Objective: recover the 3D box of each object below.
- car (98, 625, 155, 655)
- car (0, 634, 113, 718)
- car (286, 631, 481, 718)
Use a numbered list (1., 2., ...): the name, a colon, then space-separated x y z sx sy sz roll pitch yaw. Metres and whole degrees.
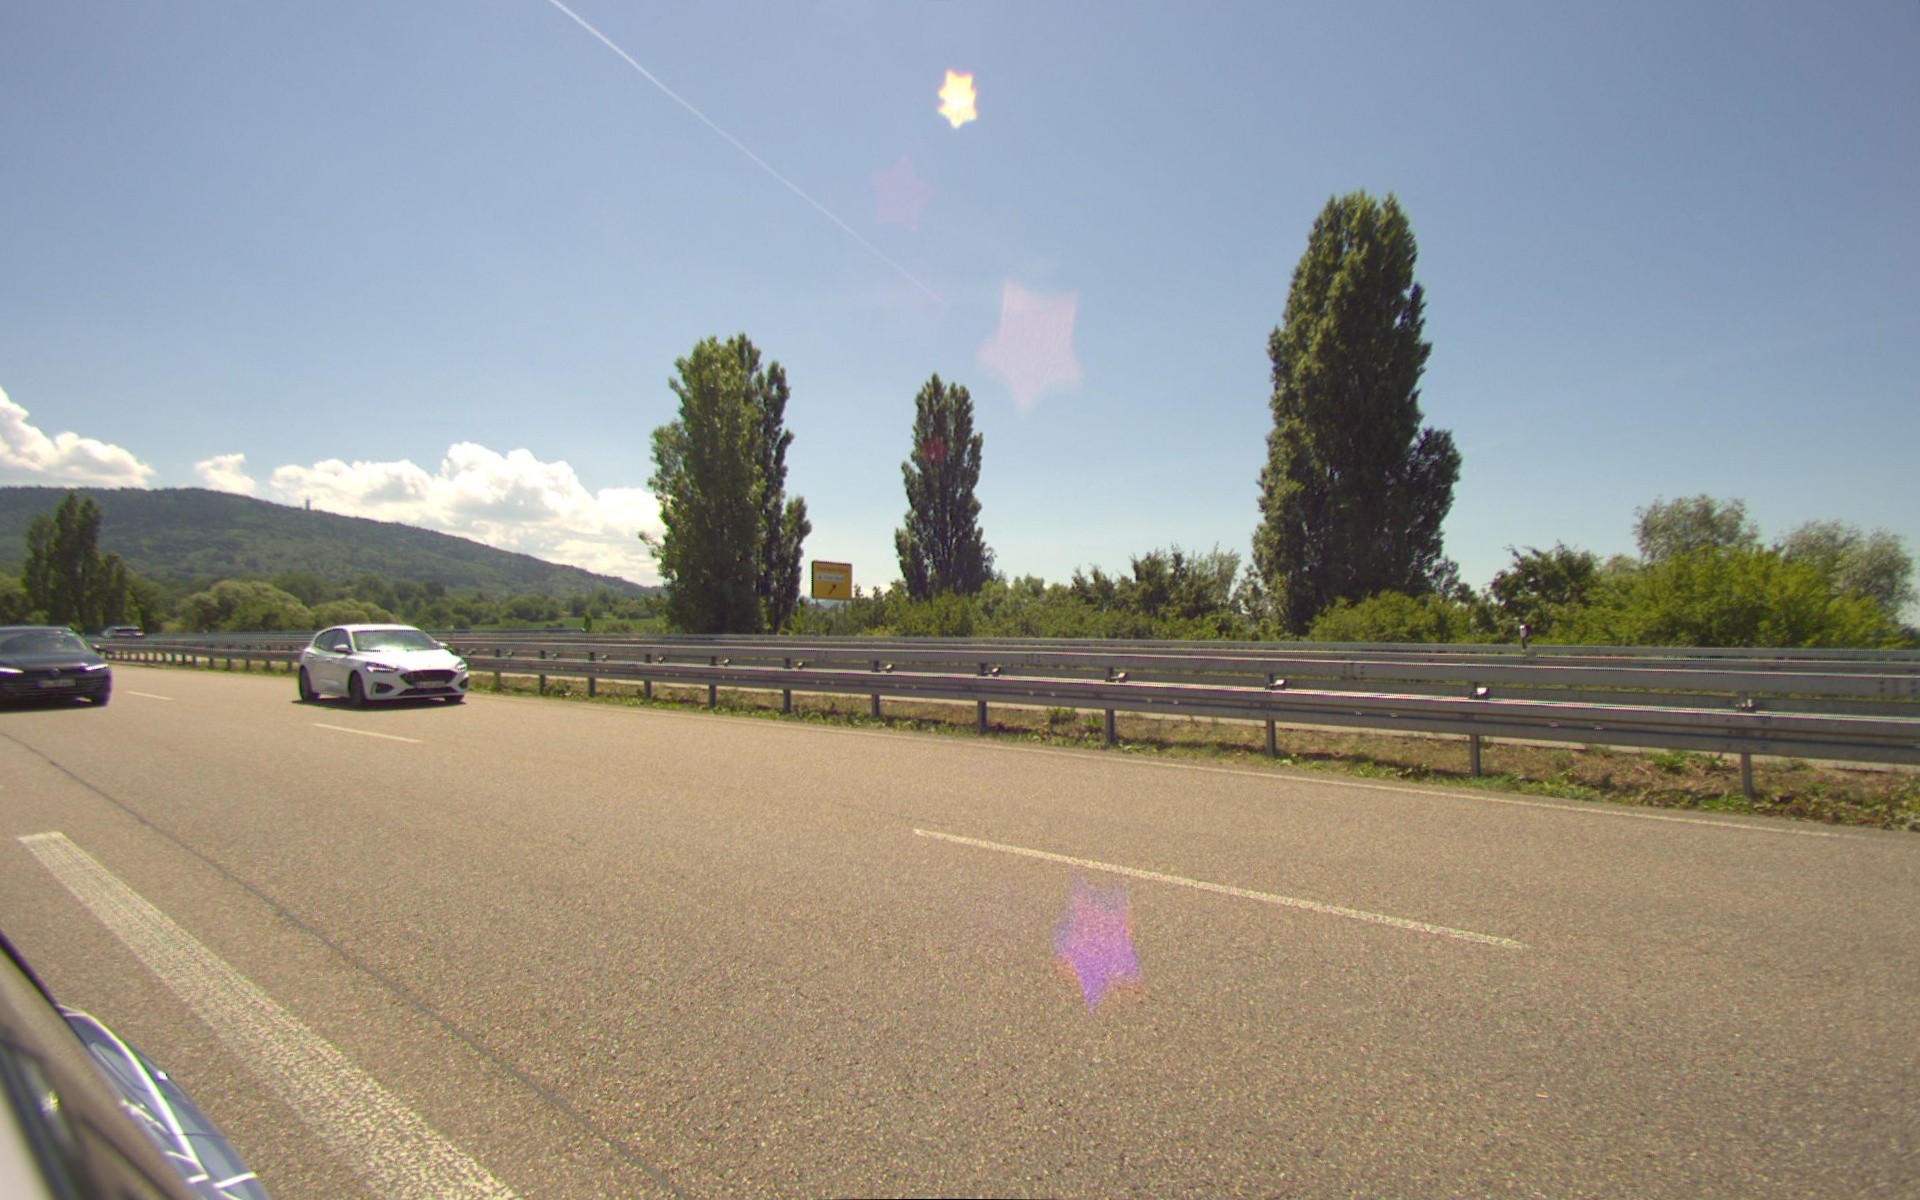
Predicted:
1. car: -48.760 2.324 59.190 4.186 1.660 1.806 -1 -2 40
2. car: -17.879 1.388 19.397 4.467 1.418 1.822 -2 -2 41
3. car: -10.878 1.301 18.968 4.467 1.418 1.822 -2 -2 41
